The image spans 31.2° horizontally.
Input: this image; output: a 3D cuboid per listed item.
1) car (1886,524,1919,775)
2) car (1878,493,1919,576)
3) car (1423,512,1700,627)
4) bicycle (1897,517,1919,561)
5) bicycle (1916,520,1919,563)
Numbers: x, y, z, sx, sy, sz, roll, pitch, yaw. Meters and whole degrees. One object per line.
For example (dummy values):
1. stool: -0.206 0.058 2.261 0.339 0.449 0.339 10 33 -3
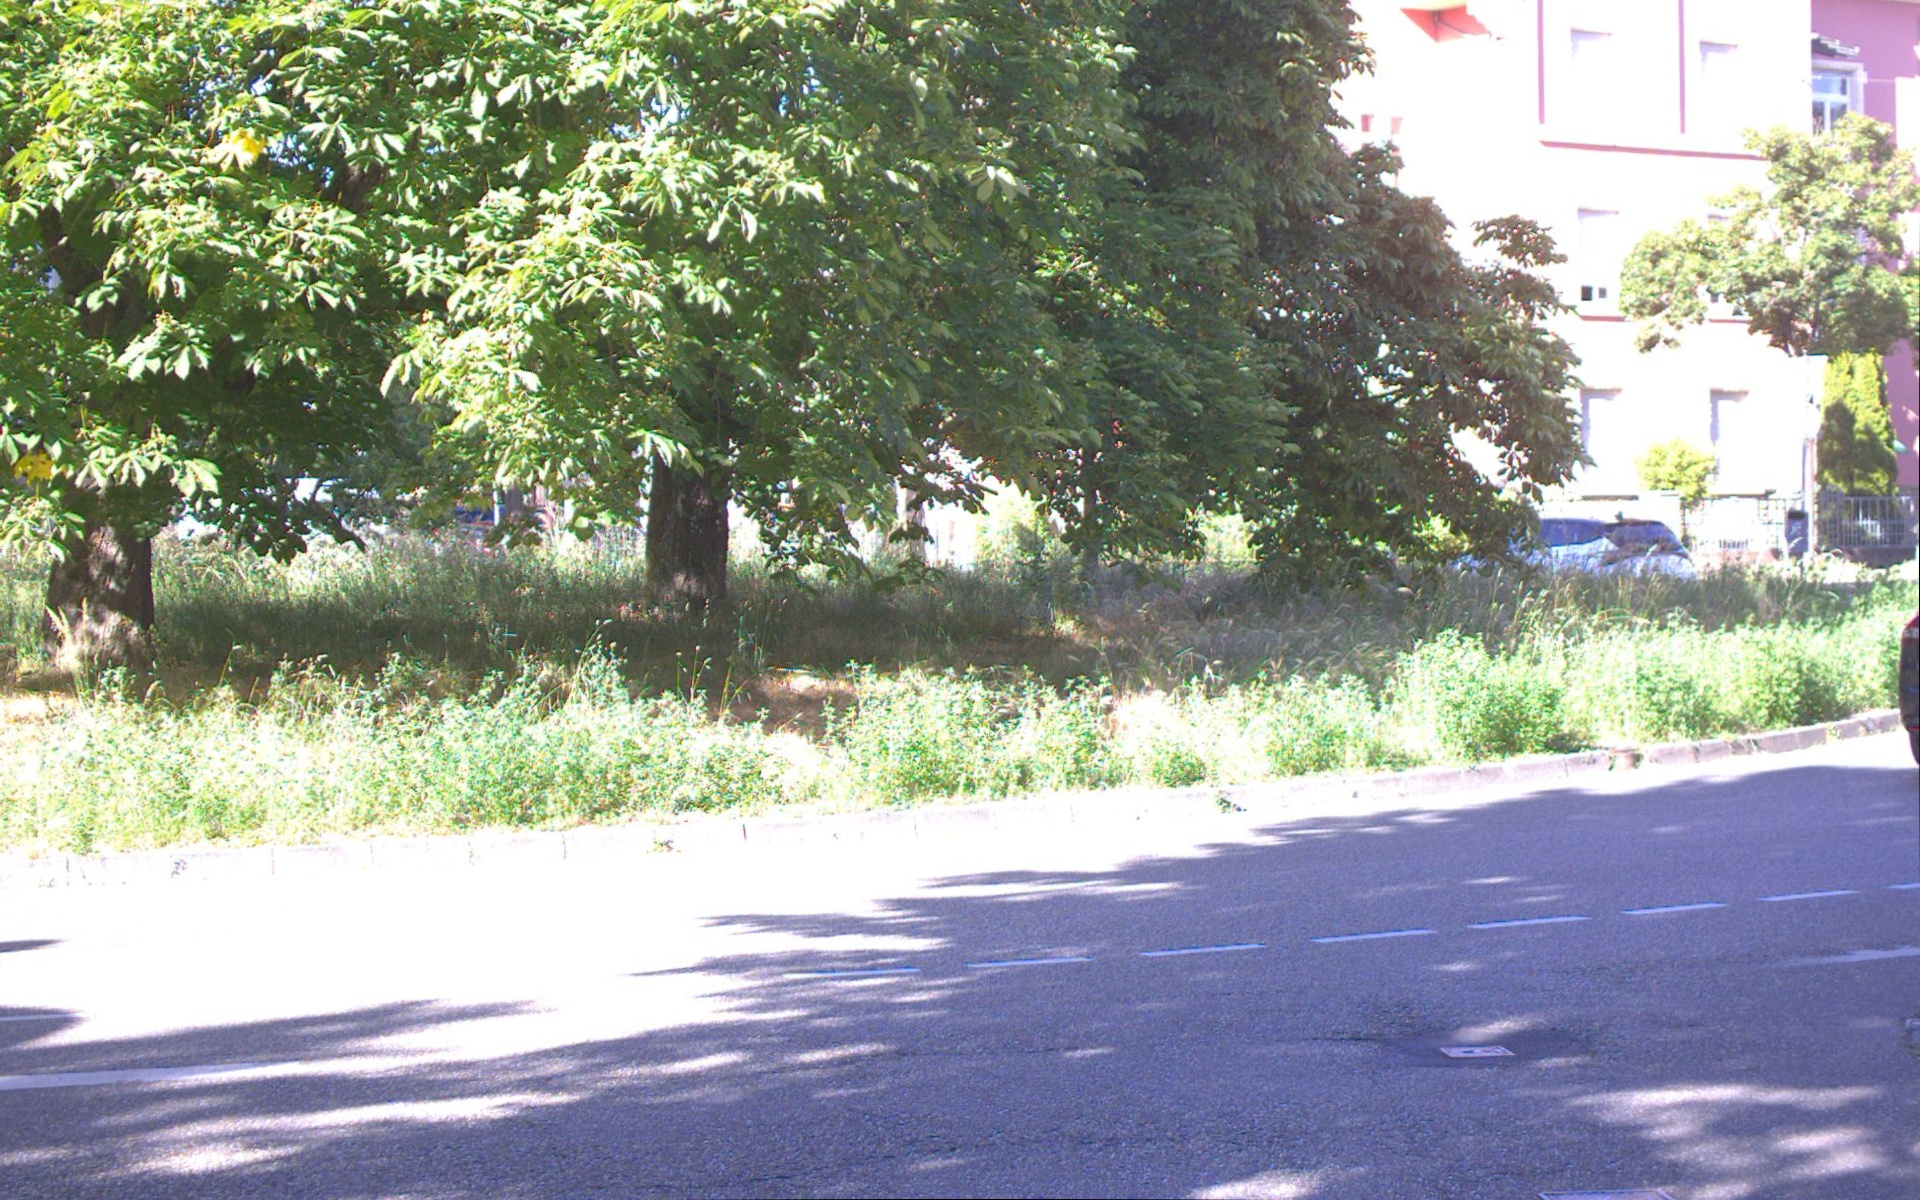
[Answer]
1. car: 7.475 0.219 21.546 1.718 1.478 4.135 0 2 38
2. car: 17.374 -1.145 57.914 3.633 1.364 1.759 -2 2 -36
3. car: 8.532 -0.442 48.928 1.556 1.546 3.644 -2 2 -44
4. bicycle: 17.867 -1.106 62.708 0.477 0.797 2.029 -2 2 -17
5. bicycle: 18.385 -1.081 63.285 0.477 0.797 2.287 -1 2 -13
